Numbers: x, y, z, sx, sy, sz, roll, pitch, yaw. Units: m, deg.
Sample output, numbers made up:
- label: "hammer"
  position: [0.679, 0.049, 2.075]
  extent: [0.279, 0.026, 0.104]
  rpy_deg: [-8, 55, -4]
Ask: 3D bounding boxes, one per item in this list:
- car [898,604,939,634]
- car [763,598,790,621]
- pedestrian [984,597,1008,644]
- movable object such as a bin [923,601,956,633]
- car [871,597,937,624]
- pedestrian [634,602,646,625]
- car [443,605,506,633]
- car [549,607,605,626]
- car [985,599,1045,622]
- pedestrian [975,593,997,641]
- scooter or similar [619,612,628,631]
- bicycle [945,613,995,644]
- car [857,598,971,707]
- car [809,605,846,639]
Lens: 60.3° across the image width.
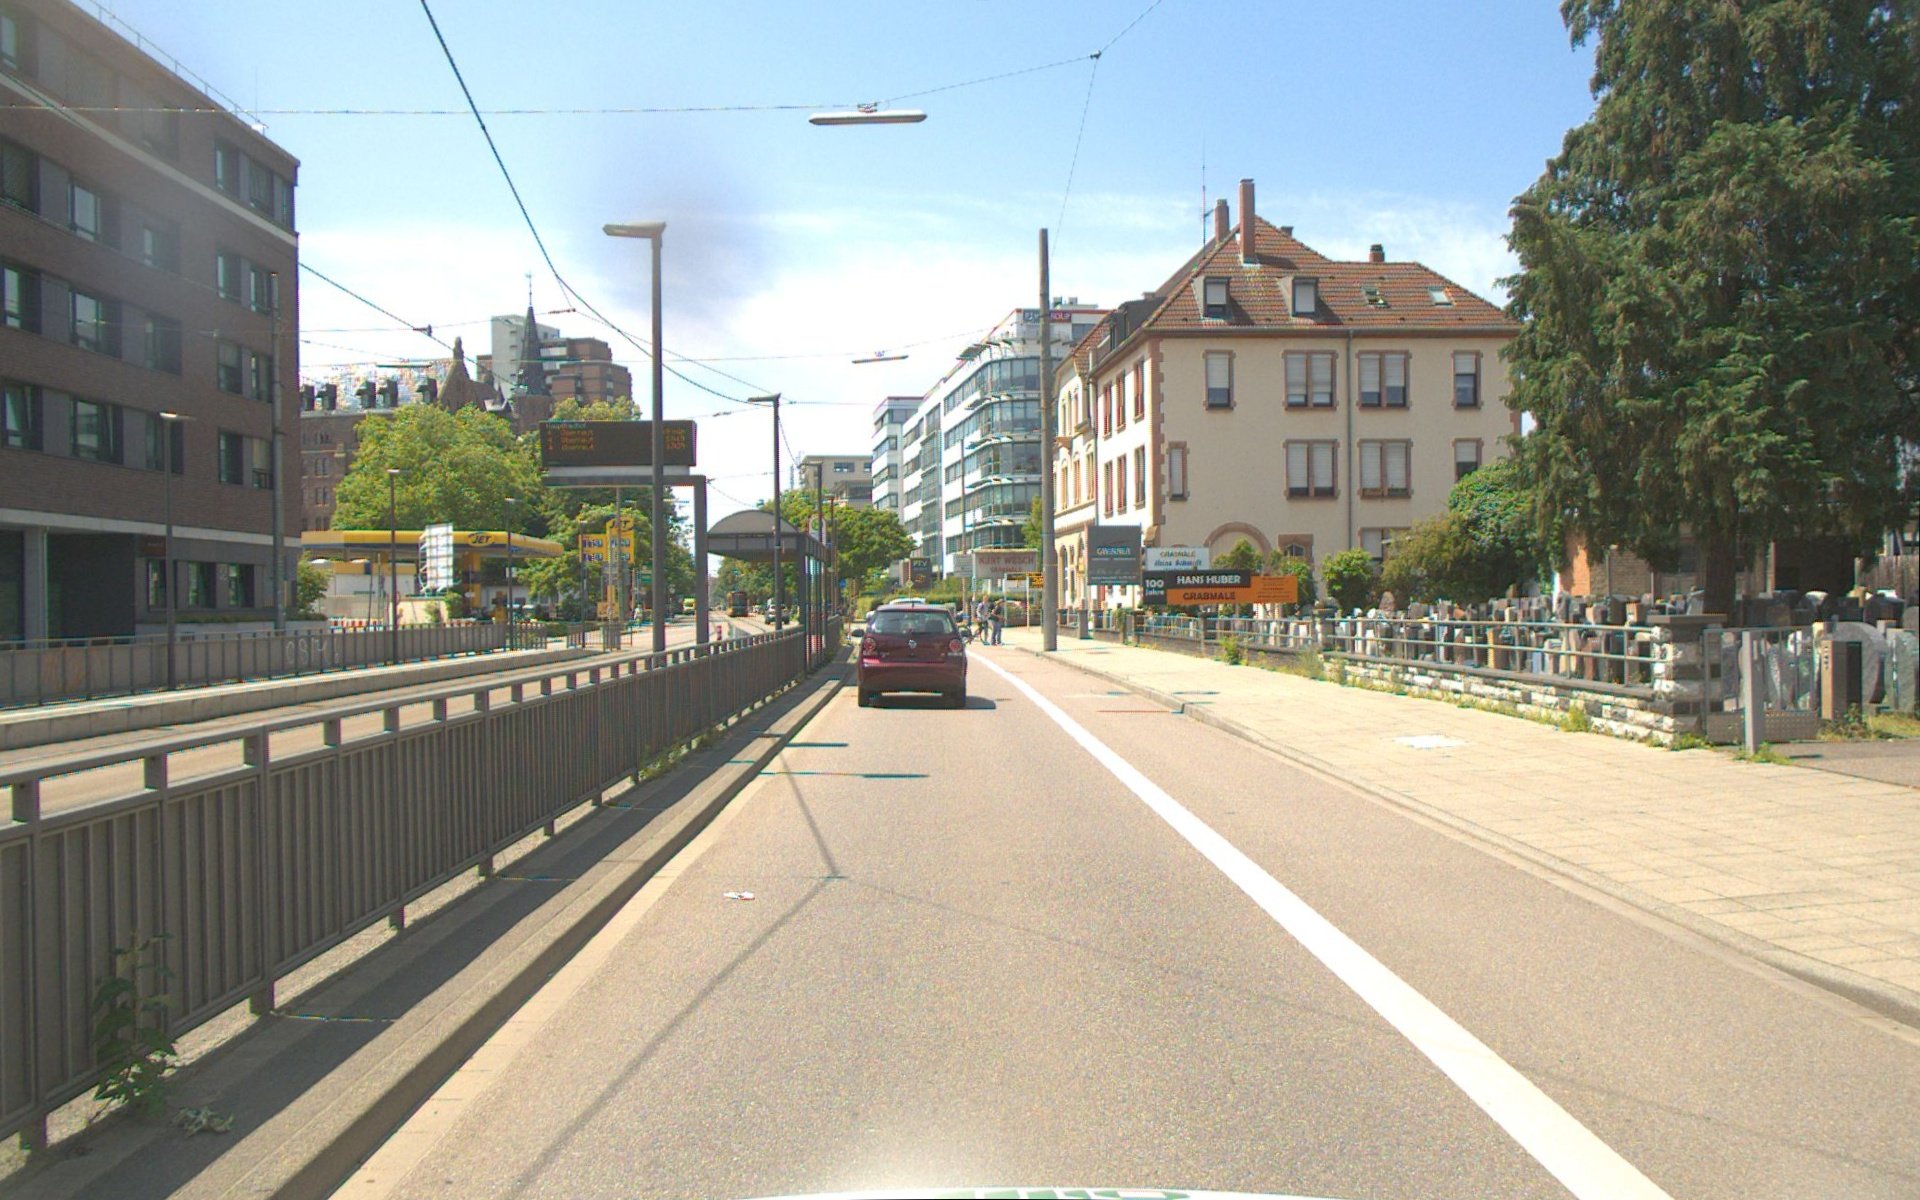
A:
- label: "car"
  position: [-2.376, 1.084, 93.351]
  extent: [1.739, 1.575, 4.458]
  rpy_deg: [-3, 0, -8]
- label: "car"
  position: [-14.761, 0.743, 132.703]
  extent: [1.956, 1.769, 3.992]
  rpy_deg: [-1, 0, -8]
- label: "pedestrian"
  position: [1.337, 0.751, 60.874]
  extent: [0.806, 1.720, 0.589]
  rpy_deg: [-1, 0, 6]
- label: "movable object such as a bin"
  position: [-1.036, 0.846, 82.124]
  extent: [1.368, 1.480, 1.136]
  rpy_deg: [-3, 0, -12]
- label: "car"
  position: [-3.904, 0.734, 115.343]
  extent: [4.453, 1.831, 1.996]
  rpy_deg: [-1, 0, -8]
- label: "pedestrian"
  position: [-23.596, 1.008, 122.032]
  extent: [0.621, 1.720, 0.712]
  rpy_deg: [0, 0, -38]
- label: "car"
  position: [-29.615, 1.161, 101.024]
  extent: [1.787, 1.531, 4.203]
  rpy_deg: [1, 1, 14]
- label: "car"
  position: [-30.808, 1.347, 133.187]
  extent: [1.893, 1.514, 4.442]
  rpy_deg: [0, 0, 30]
- label: "car"
  position: [3.904, 0.742, 117.322]
  extent: [4.068, 1.485, 1.816]
  rpy_deg: [-1, 0, -6]
- label: "pedestrian"
  position: [0.970, 0.643, 62.563]
  extent: [0.674, 1.803, 0.503]
  rpy_deg: [-1, 0, 24]
- label: "scooter or similar"
  position: [-21.866, 1.370, 107.474]
  extent: [0.509, 1.221, 1.373]
  rpy_deg: [0, 0, -11]
- label: "bicycle"
  position: [0.364, 1.069, 62.248]
  extent: [1.765, 1.147, 0.590]
  rpy_deg: [-1, 0, 22]
- label: "car"
  position: [-0.675, 0.747, 25.212]
  extent: [1.586, 1.512, 3.999]
  rpy_deg: [1, 0, -1]
- label: "car"
  position: [-8.298, 1.367, 102.989]
  extent: [1.957, 2.049, 3.991]
  rpy_deg: [1, 0, -10]
